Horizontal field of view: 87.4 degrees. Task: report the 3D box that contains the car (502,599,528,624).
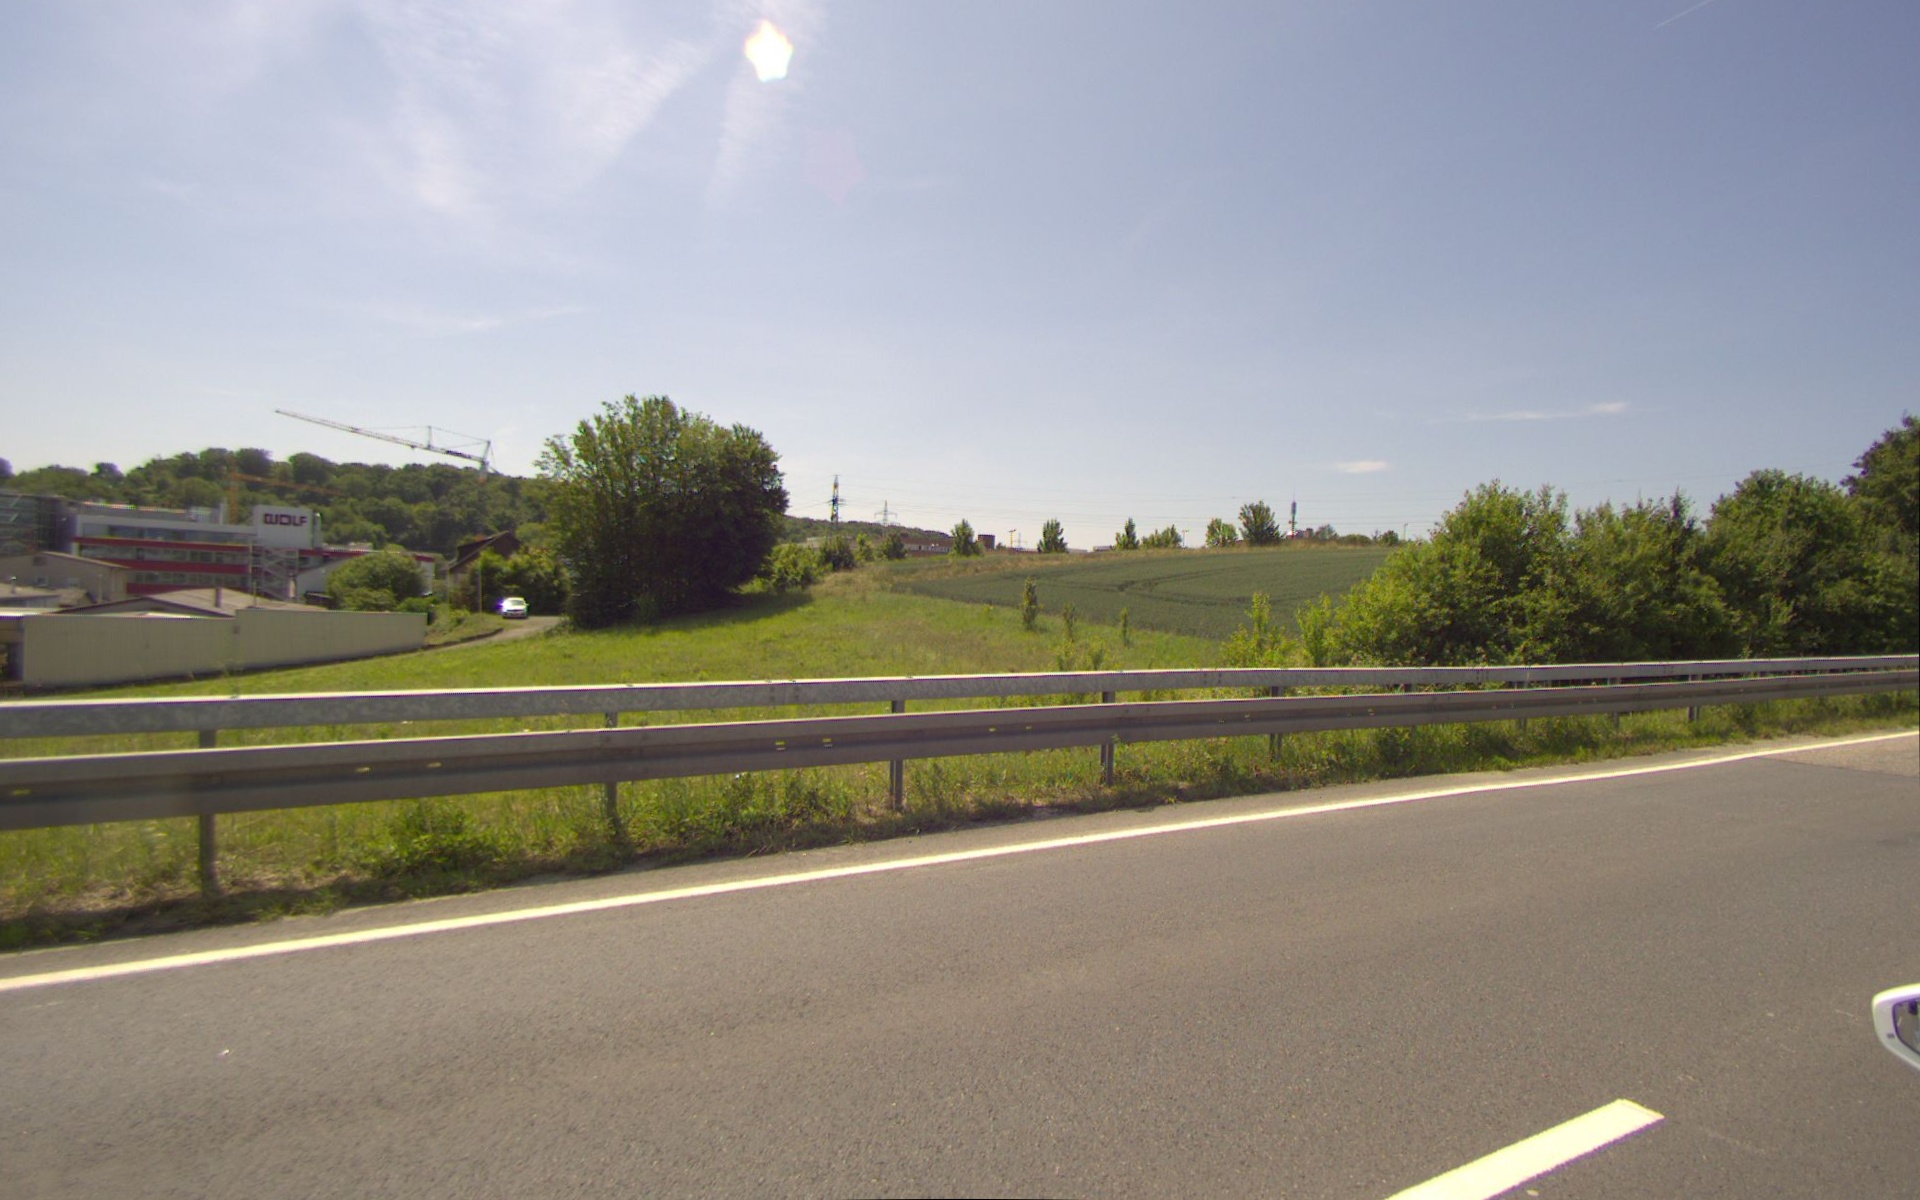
[{"bbox_3d":[-34.822,0.879,78.585,1.807,1.625,3.975,-2,3,-24],"label":"car"}]
